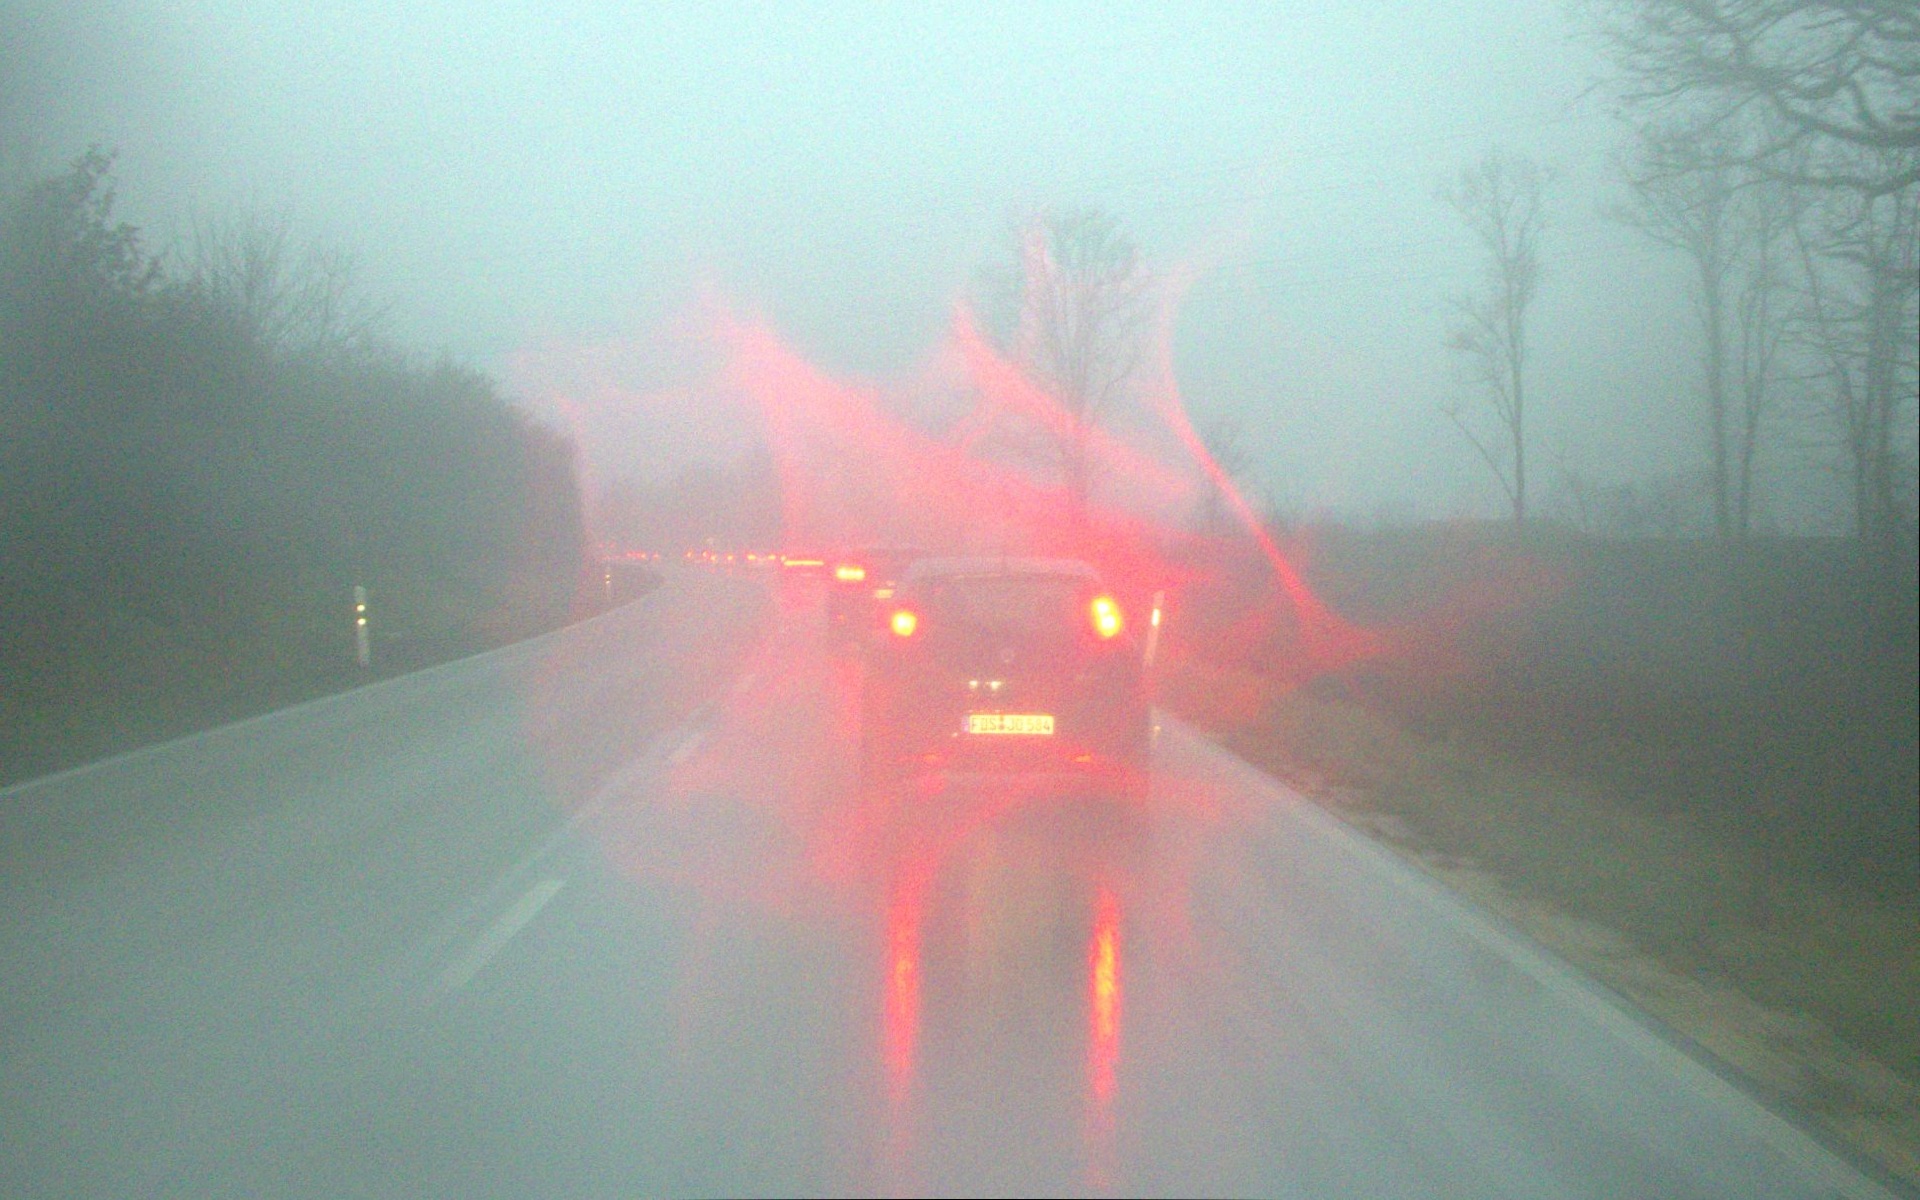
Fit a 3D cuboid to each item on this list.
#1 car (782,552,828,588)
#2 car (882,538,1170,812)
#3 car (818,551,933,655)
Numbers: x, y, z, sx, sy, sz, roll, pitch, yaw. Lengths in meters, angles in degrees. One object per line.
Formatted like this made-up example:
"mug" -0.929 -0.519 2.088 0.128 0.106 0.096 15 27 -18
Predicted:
"car" -6.198 -1.210 138.089 1.547 1.392 3.869 1 1 2
"car" 0.383 0.391 21.225 1.602 1.517 3.869 1 1 0
"car" -1.191 0.010 48.500 1.547 1.392 3.870 1 1 -1
